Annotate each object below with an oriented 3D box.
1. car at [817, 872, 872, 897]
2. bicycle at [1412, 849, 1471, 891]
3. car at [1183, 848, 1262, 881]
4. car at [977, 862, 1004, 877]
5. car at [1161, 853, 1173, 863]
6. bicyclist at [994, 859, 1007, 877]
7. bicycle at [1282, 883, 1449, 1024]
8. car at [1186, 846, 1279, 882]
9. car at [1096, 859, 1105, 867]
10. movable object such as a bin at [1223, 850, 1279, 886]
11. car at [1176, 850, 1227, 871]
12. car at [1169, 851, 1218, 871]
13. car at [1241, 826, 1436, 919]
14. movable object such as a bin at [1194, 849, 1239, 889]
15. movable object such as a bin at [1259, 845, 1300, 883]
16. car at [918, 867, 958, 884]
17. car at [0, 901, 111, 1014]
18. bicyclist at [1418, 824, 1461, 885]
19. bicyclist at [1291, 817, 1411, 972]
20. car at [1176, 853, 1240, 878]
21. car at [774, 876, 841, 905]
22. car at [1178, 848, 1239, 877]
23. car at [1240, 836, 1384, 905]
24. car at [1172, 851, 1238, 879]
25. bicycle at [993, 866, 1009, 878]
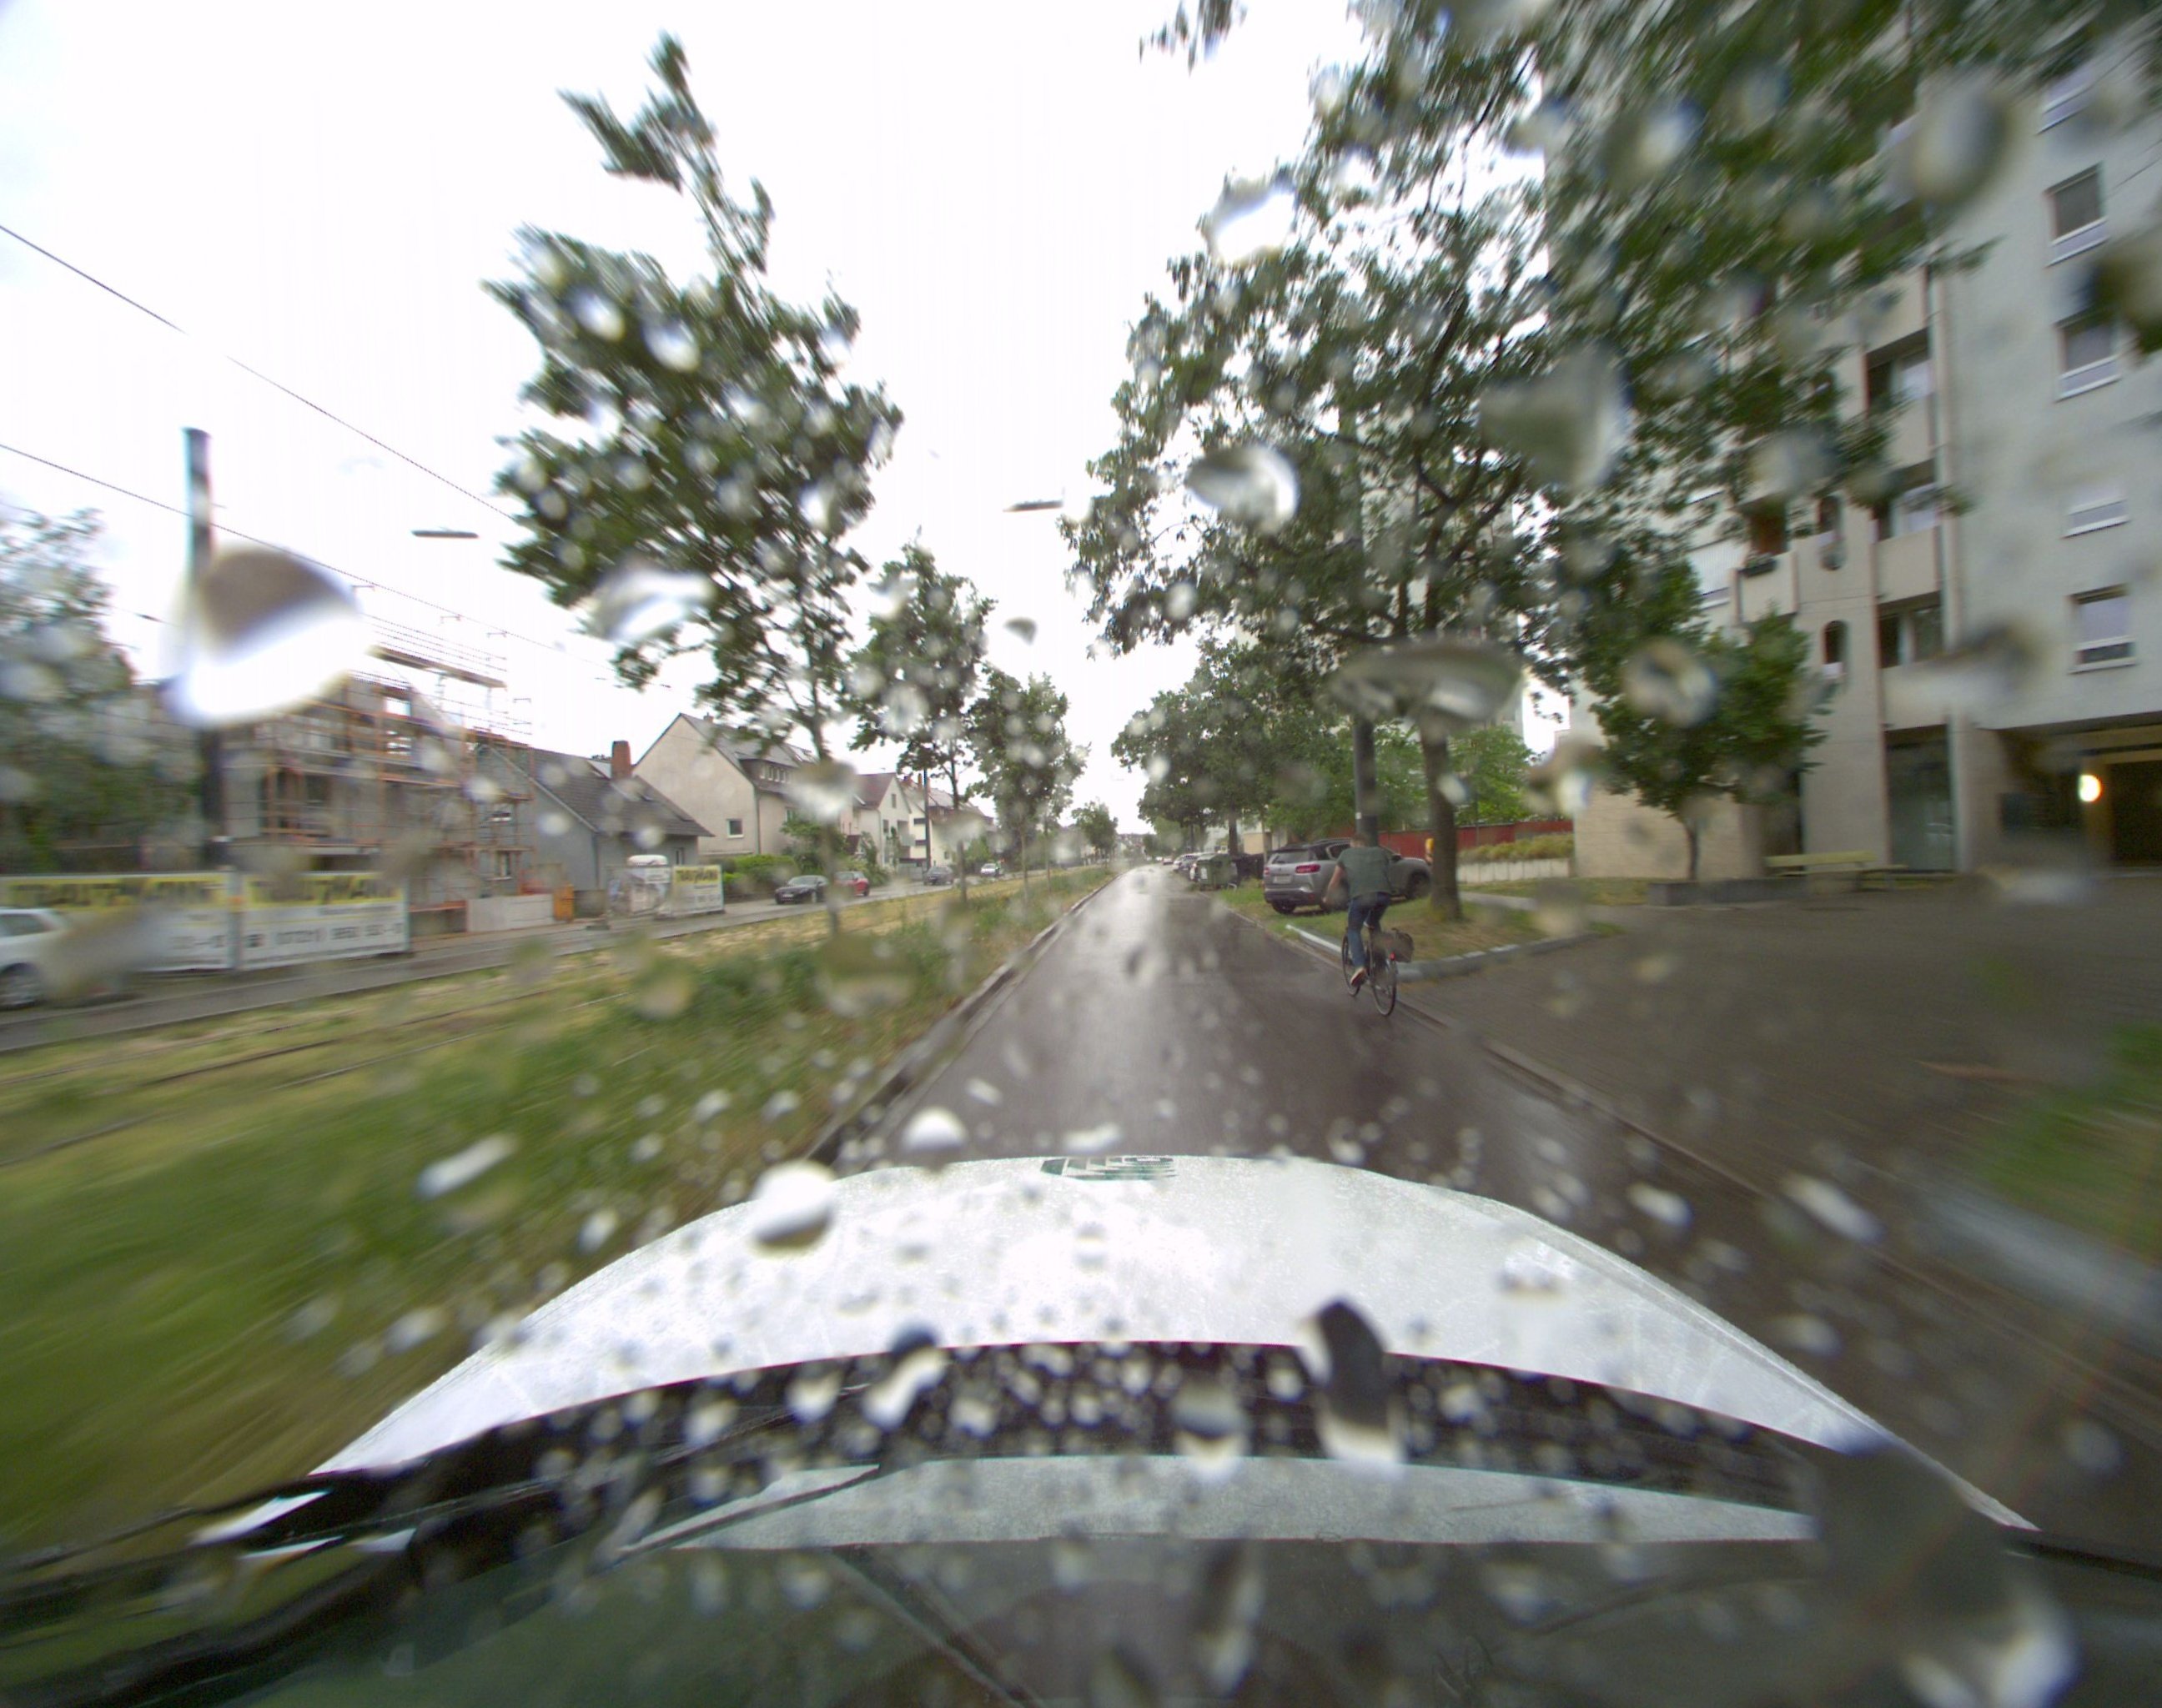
[{"bbox_3d":[-13.044,1.682,45.157,1.667,1.244,3.859,-1,0,4],"label":"car"},{"bbox_3d":[9.839,0.416,22.312,0.731,1.056,2.052,-3,0,3],"label":"bicycle"},{"bbox_3d":[7.496,0.542,42.987,4.054,1.519,1.570,-3,0,-31],"label":"car"},{"bbox_3d":[-9.728,1.662,87.924,1.887,1.469,4.696,-1,0,7],"label":"car"},{"bbox_3d":[14.771,0.674,139.962,1.825,1.586,4.004,-3,0,4],"label":"car"},{"bbox_3d":[-7.877,1.337,79.328,1.014,1.685,1.093,-3,0,3],"label":"bicyclist"},{"bbox_3d":[2.763,0.900,8.283,0.807,1.096,2.517,-3,0,1],"label":"bicycle"},{"bbox_3d":[7.426,0.494,39.755,4.242,1.519,1.859,-3,0,-31],"label":"car"},{"bbox_3d":[4.987,2.268,206.414,1.835,1.672,4.004,-3,0,4],"label":"car"},{"bbox_3d":[6.910,0.567,33.133,1.686,1.326,1.392,-5,0,-18],"label":"movable object such as a bin"},{"bbox_3d":[9.908,0.503,67.026,4.056,1.541,1.569,-3,0,-33],"label":"car"},{"bbox_3d":[9.705,0.578,69.967,4.056,1.513,1.569,-3,0,-33],"label":"car"},{"bbox_3d":[6.100,0.391,19.228,4.160,1.719,1.981,-6,1,-29],"label":"car"},{"bbox_3d":[5.454,0.602,32.907,1.128,1.457,1.392,-8,1,-17],"label":"movable object such as a bin"},{"bbox_3d":[8.449,0.412,34.679,1.249,1.520,1.080,-4,0,-24],"label":"movable object such as a bin"},{"bbox_3d":[-11.492,1.710,65.847,1.887,1.244,4.696,-1,0,7],"label":"car"},{"bbox_3d":[-16.456,1.527,10.797,1.702,1.542,4.427,0,0,4],"label":"car"},{"bbox_3d":[9.822,0.012,22.333,0.731,1.594,0.945,-3,0,3],"label":"bicyclist"},{"bbox_3d":[2.725,0.390,8.339,0.807,1.433,1.060,-3,-1,1],"label":"bicyclist"},{"bbox_3d":[8.299,0.745,53.183,4.056,1.443,1.569,-3,0,-33],"label":"car"},{"bbox_3d":[-13.334,1.751,39.974,1.656,1.244,4.076,-1,0,4],"label":"car"},{"bbox_3d":[8.719,0.565,55.481,4.056,1.703,1.569,-3,0,-33],"label":"car"},{"bbox_3d":[6.602,0.435,23.146,3.902,1.567,1.714,-5,0,-33],"label":"car"},{"bbox_3d":[7.457,0.660,48.636,4.062,1.443,1.566,-3,0,-40],"label":"car"},{"bbox_3d":[-7.829,1.768,80.056,1.014,1.028,3.200,-3,0,4],"label":"bicycle"}]
